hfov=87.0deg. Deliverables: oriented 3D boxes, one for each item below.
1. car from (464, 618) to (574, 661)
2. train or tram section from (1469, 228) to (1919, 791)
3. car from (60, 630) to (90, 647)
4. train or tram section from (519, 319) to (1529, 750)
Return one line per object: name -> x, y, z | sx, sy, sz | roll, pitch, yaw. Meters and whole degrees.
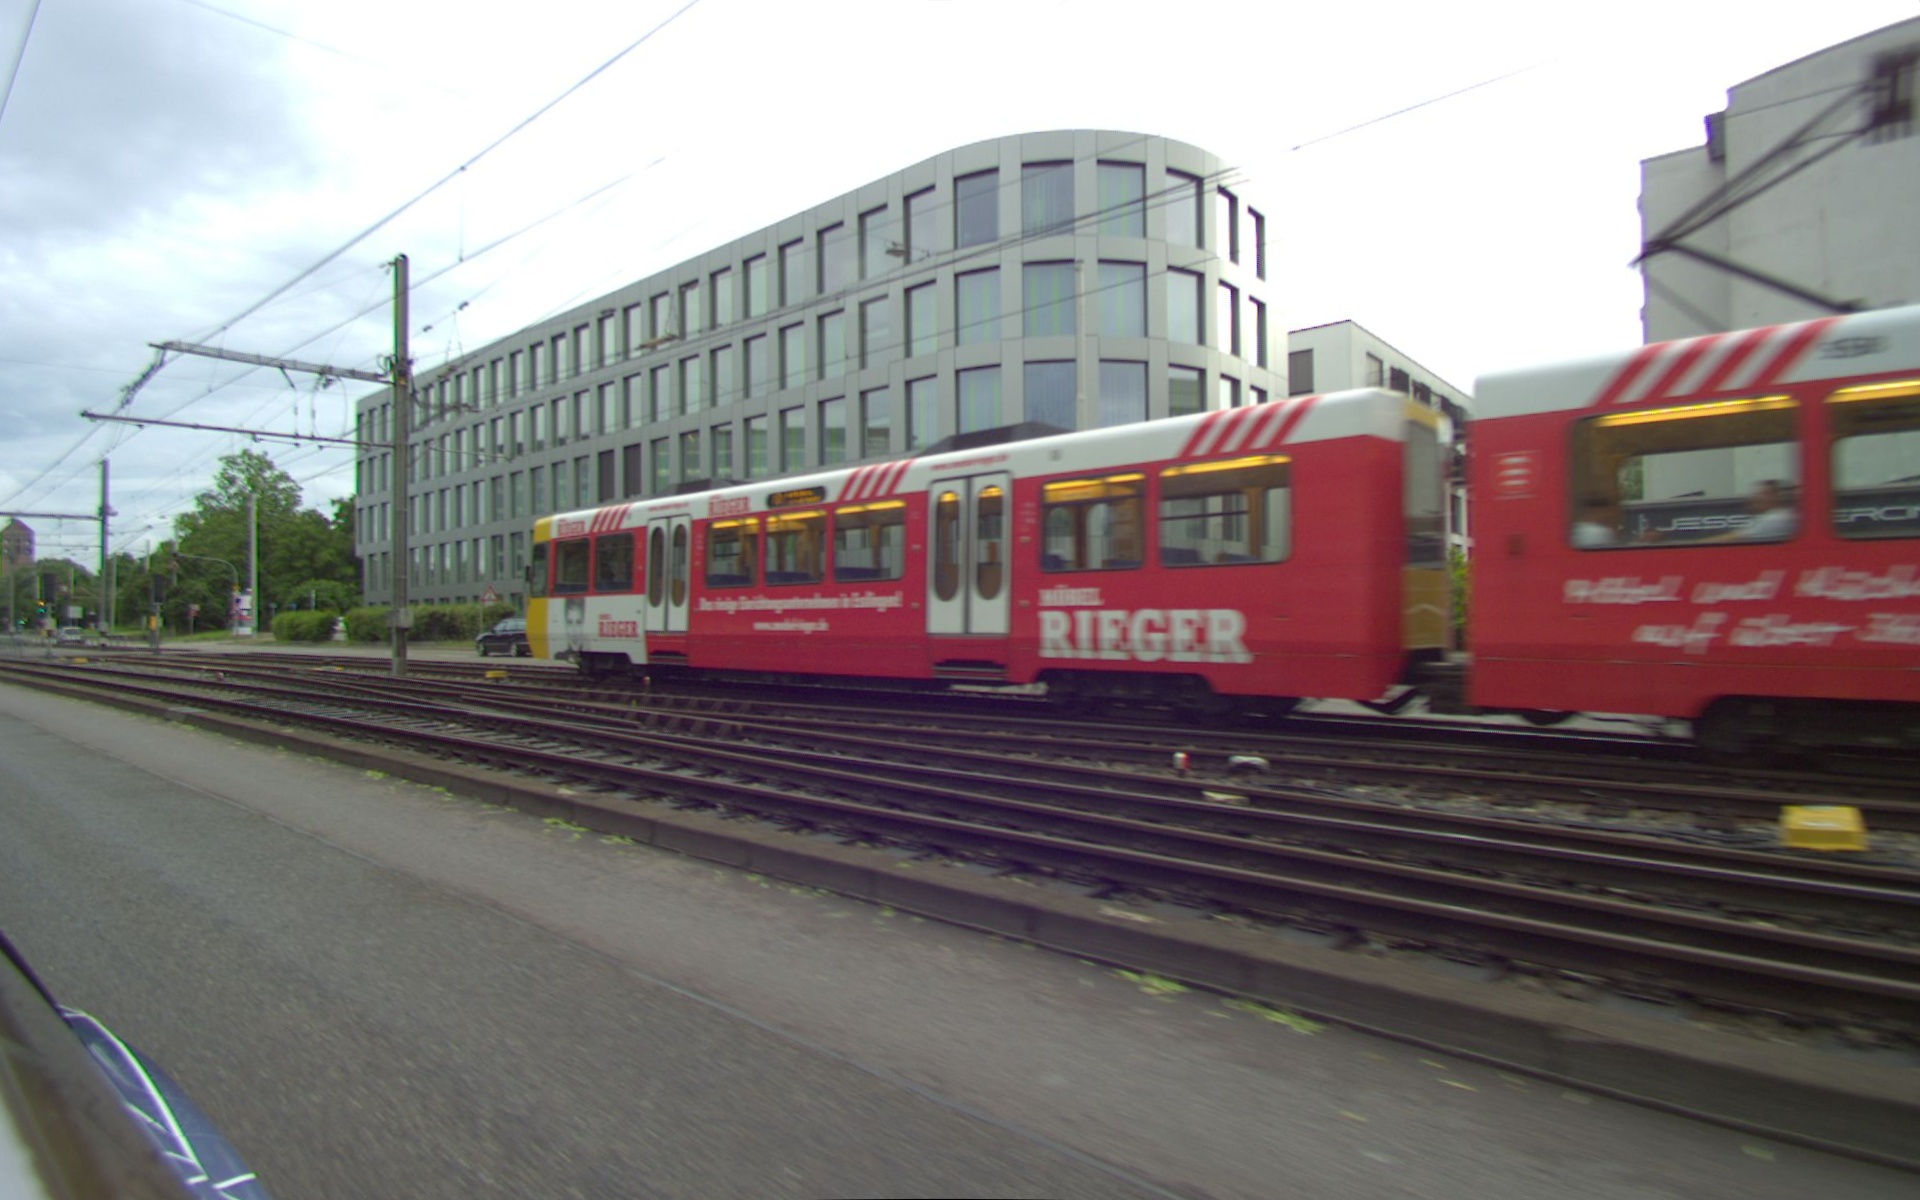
car -> -16.664, 1.458, 38.155 | 4.921, 1.462, 1.886 | -1, -1, 41
train or tram section -> 12.296, -0.752, 3.605 | 18.611, 3.840, 2.935 | -2, -1, 43
car -> -88.657, 3.864, 101.360 | 3.562, 1.649, 1.788 | -2, -1, 41
train or tram section -> -1.574, -0.398, 16.394 | 18.611, 3.840, 2.935 | -2, -1, 43
